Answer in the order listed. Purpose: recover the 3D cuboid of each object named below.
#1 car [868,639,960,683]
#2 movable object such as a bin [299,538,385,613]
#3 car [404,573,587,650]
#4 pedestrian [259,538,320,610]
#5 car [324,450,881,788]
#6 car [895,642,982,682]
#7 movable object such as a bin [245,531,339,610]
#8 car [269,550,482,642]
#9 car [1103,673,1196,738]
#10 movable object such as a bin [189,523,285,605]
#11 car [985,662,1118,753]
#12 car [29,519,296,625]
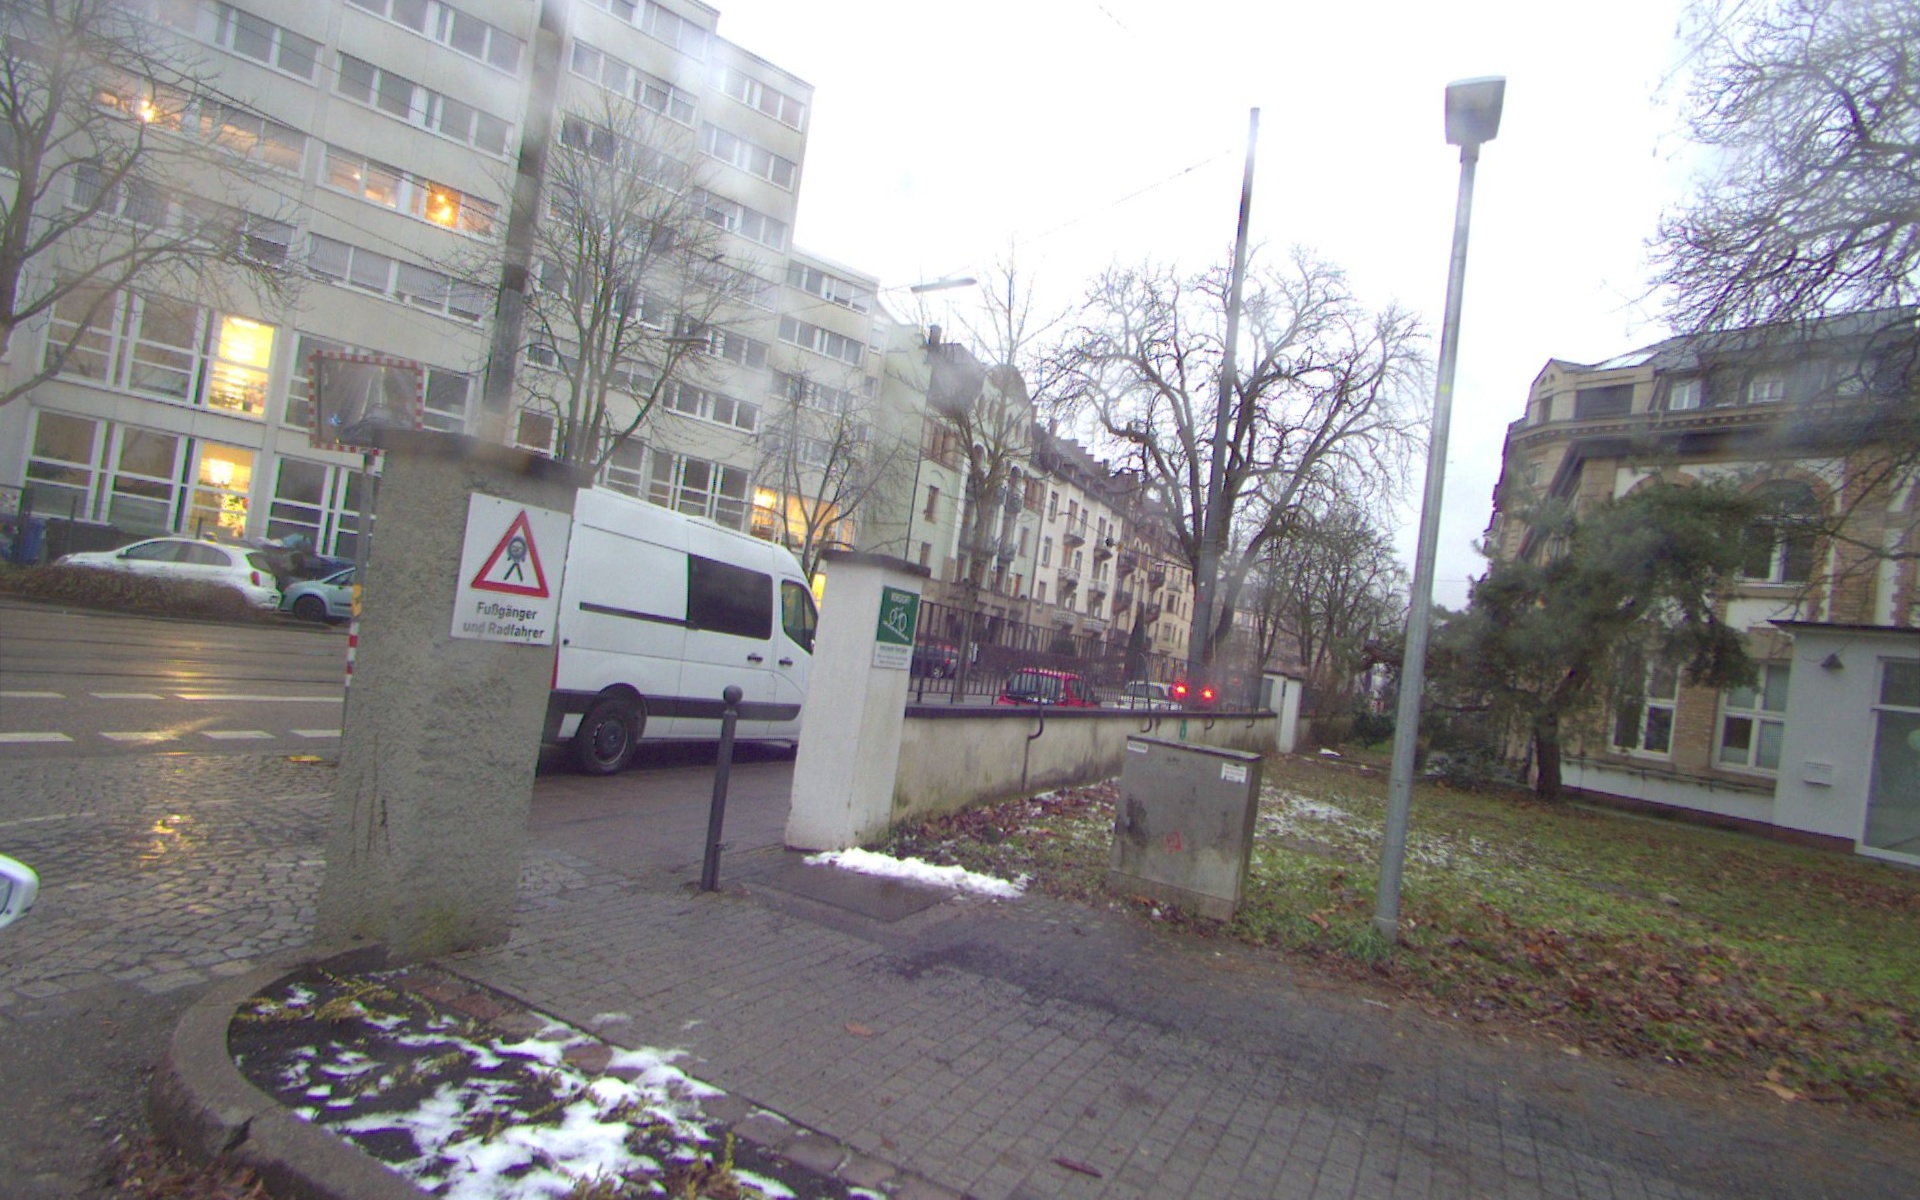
[{"bbox_3d":[-2.207,2.902,47.998,3.944,1.487,1.825,9,-2,-19],"label":"car"},{"bbox_3d":[-17.574,-0.698,28.617,1.547,1.882,1.316,7,-1,28],"label":"movable object such as a bin"},{"bbox_3d":[-12.254,0.344,26.774,3.931,1.459,1.737,8,-3,-7],"label":"car"},{"bbox_3d":[-17.171,-0.650,25.767,0.588,1.696,0.973,7,-1,26],"label":"pedestrian"},{"bbox_3d":[-3.131,0.351,10.453,2.092,2.514,5.442,5,-4,24],"label":"car"},{"bbox_3d":[-1.092,3.110,50.579,3.940,1.444,1.843,8,-2,-17],"label":"car"},{"bbox_3d":[-18.189,-0.789,27.416,1.547,1.882,1.392,7,-1,28],"label":"movable object such as a bin"},{"bbox_3d":[-13.847,-0.068,24.095,3.939,1.581,1.732,8,-2,-16],"label":"car"},{"bbox_3d":[5.556,3.038,29.111,1.667,1.537,3.638,7,-2,25],"label":"car"},{"bbox_3d":[-18.800,-0.920,26.165,1.547,1.882,1.316,7,-1,28],"label":"movable object such as a bin"},{"bbox_3d":[2.034,2.259,21.449,1.618,1.541,3.573,8,-2,24],"label":"car"},{"bbox_3d":[-16.275,-0.526,20.767,3.821,1.569,1.687,8,-2,-19],"label":"car"}]
